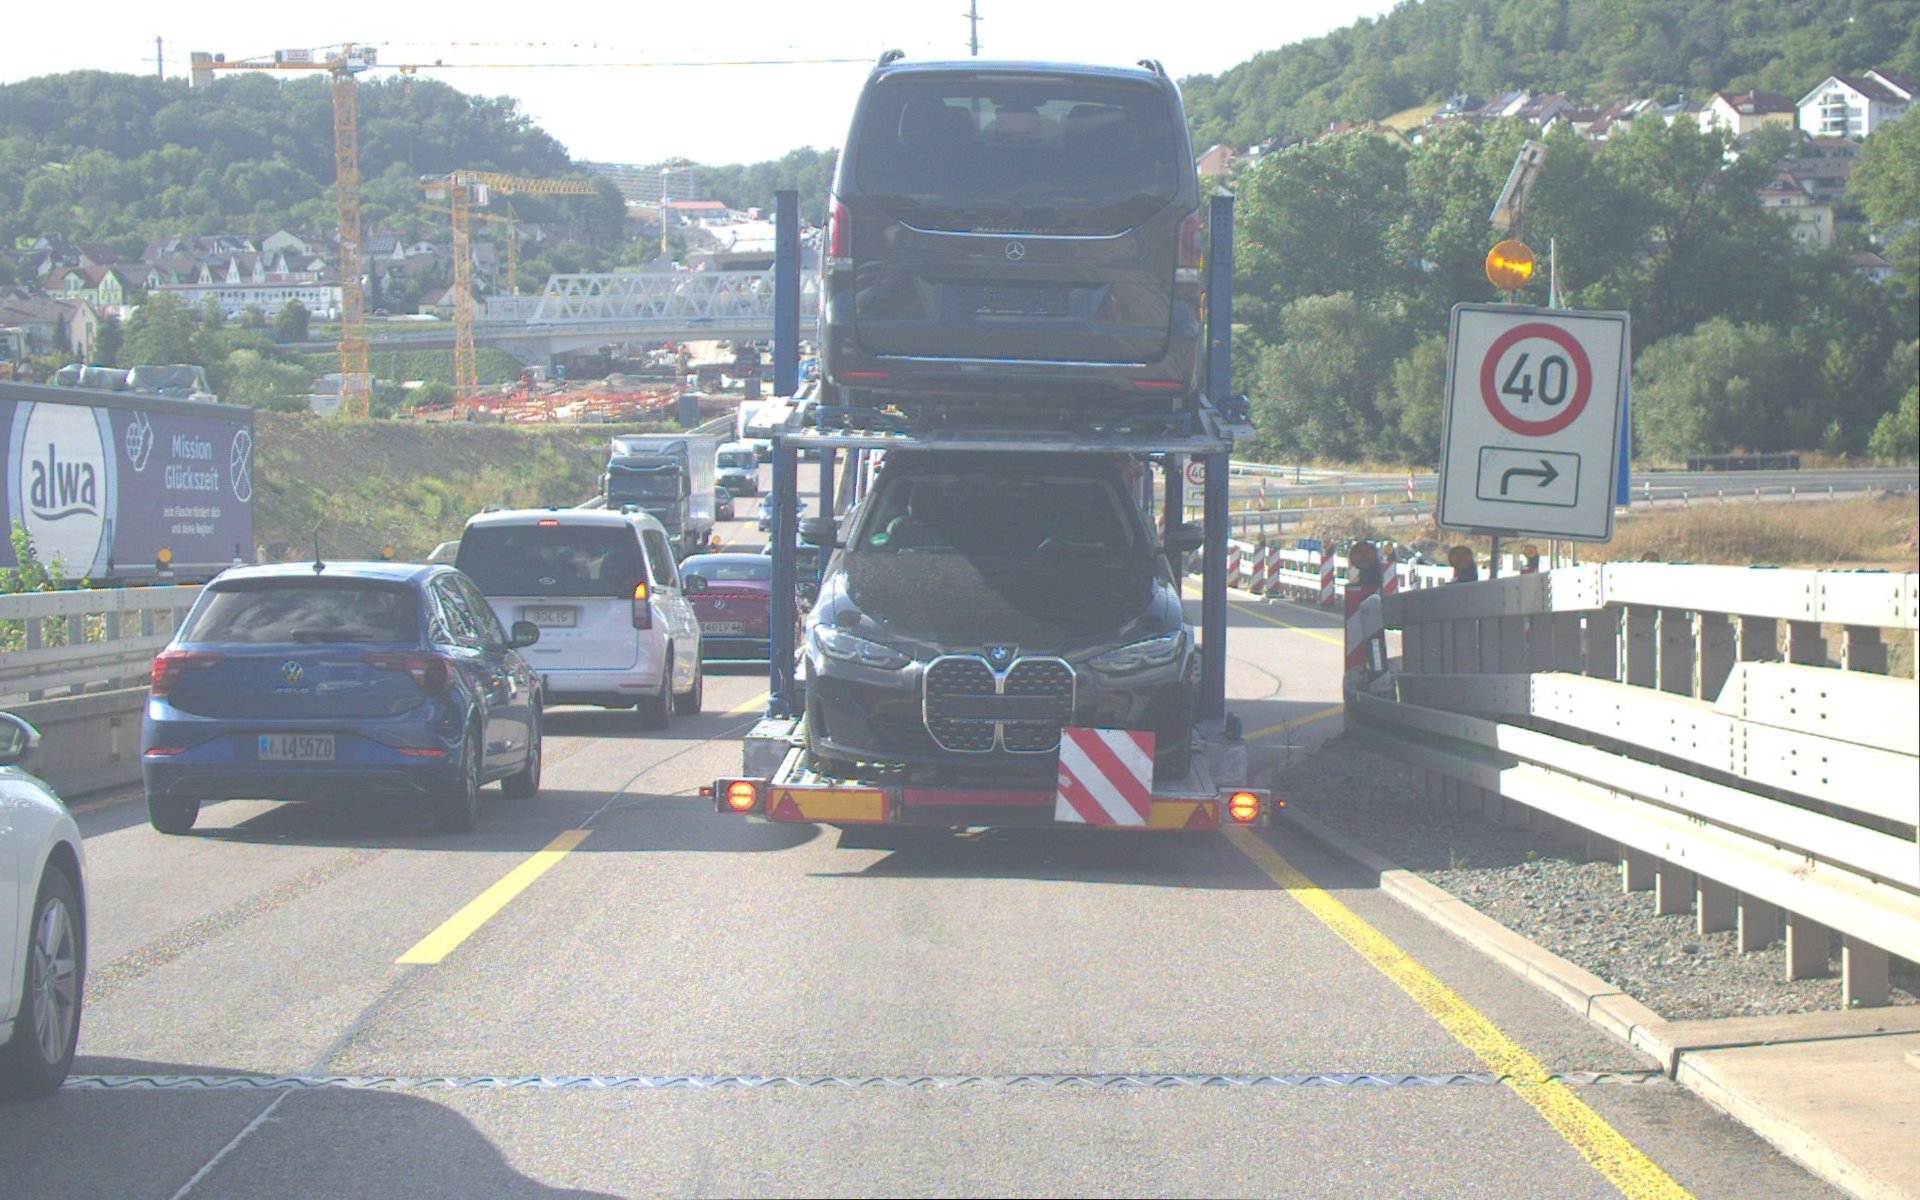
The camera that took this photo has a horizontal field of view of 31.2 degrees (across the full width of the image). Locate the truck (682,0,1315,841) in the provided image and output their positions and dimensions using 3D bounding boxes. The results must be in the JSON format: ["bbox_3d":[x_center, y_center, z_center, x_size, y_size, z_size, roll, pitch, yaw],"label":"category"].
[{"bbox_3d":[0.014,-0.968,24.991,2.753,3.941,18.890,2,0,-1],"label":"truck"}]

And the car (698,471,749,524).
[{"bbox_3d":[-11.521,-4.981,167.929,2.258,2.394,5.868,1,0,-2],"label":"car"}]

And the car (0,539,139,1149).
[{"bbox_3d":[-3.239,0.612,7.514,1.770,1.486,4.516,-1,0,0],"label":"car"}]

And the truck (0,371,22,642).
[{"bbox_3d":[-16.314,-1.431,50.255,2.713,4.123,5.968,1,0,10],"label":"truck"}]

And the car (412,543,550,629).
[{"bbox_3d":[-10.211,-0.302,73.596,1.924,1.761,4.326,1,0,6],"label":"car"}]

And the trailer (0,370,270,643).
[{"bbox_3d":[-15.193,-1.451,56.678,2.688,4.141,13.806,1,0,10],"label":"trailer"}]

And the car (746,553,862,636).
[{"bbox_3d":[-3.005,-0.111,66.858,1.993,1.547,4.000,1,0,1],"label":"car"}]

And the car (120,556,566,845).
[{"bbox_3d":[-3.351,0.486,19.387,1.722,1.417,4.000,1,1,1],"label":"car"}]

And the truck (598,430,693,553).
[{"bbox_3d":[-10.151,-3.465,111.419,2.776,3.775,6.019,1,0,-3],"label":"truck"}]

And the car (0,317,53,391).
[{"bbox_3d":[-34.028,-8.733,122.311,1.993,2.133,5.322,-4,0,-1],"label":"car"}]

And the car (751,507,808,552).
[{"bbox_3d":[-7.204,-2.797,137.451,1.993,1.720,4.122,1,0,1],"label":"car"}]

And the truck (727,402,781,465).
[{"bbox_3d":[-11.969,-9.675,200.454,2.700,3.300,7.537,1,0,0],"label":"truck"}]

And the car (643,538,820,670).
[{"bbox_3d":[-2.816,0.041,43.242,1.993,1.551,4.401,1,0,-1],"label":"car"}]

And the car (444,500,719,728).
[{"bbox_3d":[-3.140,0.097,29.274,1.823,1.786,4.000,1,0,1],"label":"car"}]

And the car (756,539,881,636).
[{"bbox_3d":[-2.341,-0.209,57.697,1.993,1.547,4.000,1,0,-1],"label":"car"}]
